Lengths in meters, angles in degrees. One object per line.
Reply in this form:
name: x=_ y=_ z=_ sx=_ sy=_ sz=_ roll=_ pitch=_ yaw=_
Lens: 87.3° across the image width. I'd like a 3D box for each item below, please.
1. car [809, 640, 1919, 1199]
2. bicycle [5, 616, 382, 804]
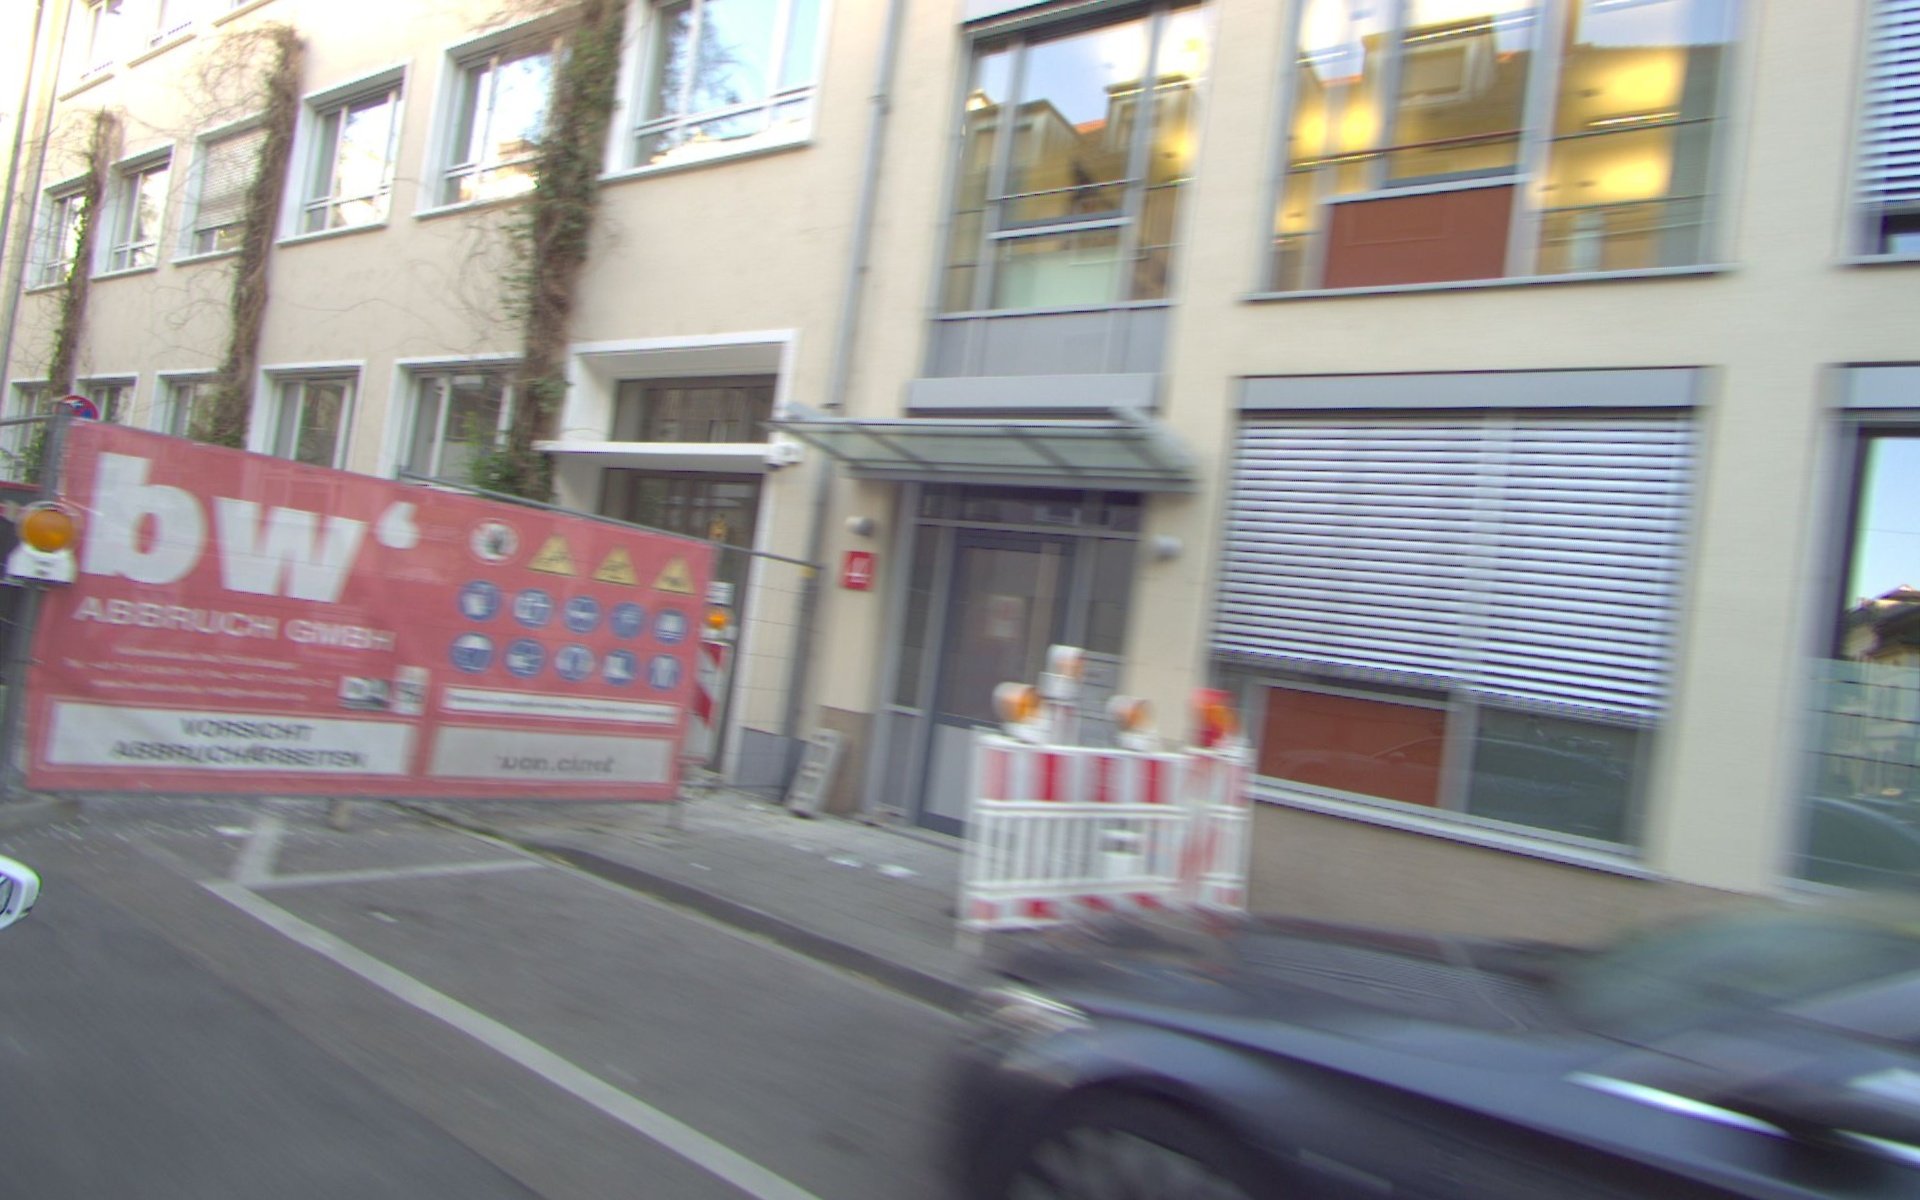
car: x=2.031 y=1.180 z=1.903 sx=4.372 sy=1.486 sz=1.793 roll=7 pitch=-5 yaw=32
bicycle: x=-4.842 y=0.707 z=6.468 sx=1.780 sy=0.918 sz=0.458 roll=10 pitch=-2 yaw=-14
